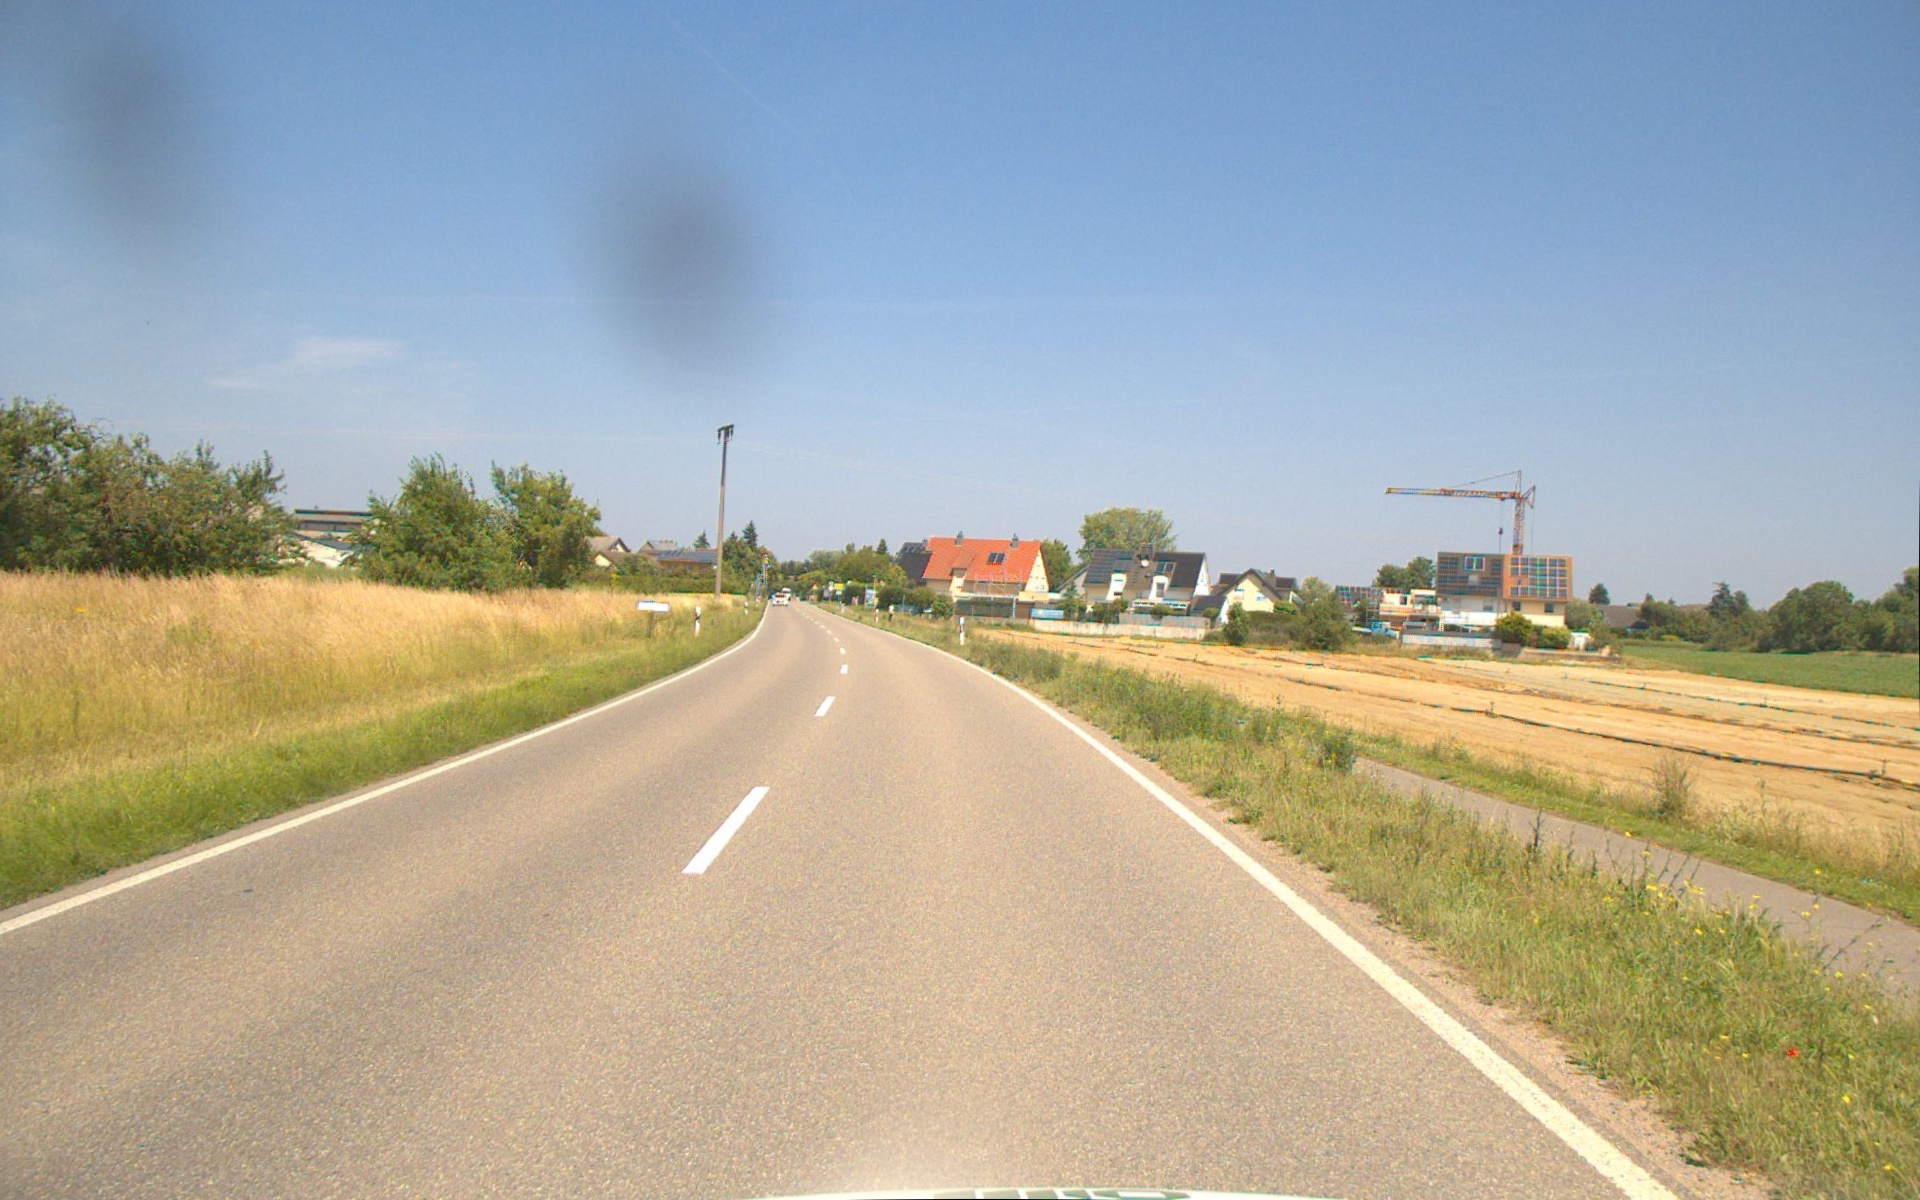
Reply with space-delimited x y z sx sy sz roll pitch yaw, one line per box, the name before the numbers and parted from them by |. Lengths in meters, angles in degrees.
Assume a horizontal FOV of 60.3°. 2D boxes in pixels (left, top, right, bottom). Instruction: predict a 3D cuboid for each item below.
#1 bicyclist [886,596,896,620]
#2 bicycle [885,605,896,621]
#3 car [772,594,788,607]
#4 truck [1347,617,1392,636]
bicyclist | -5.613 0.642 134.531 0.633 1.922 0.859 4 0 -7
bicycle | -5.663 1.030 134.697 0.599 1.178 2.271 4 1 -7
car | -21.196 0.077 194.435 1.757 1.434 4.179 2 0 -7
truck | 52.604 3.373 212.444 5.438 2.269 2.216 2 0 18
